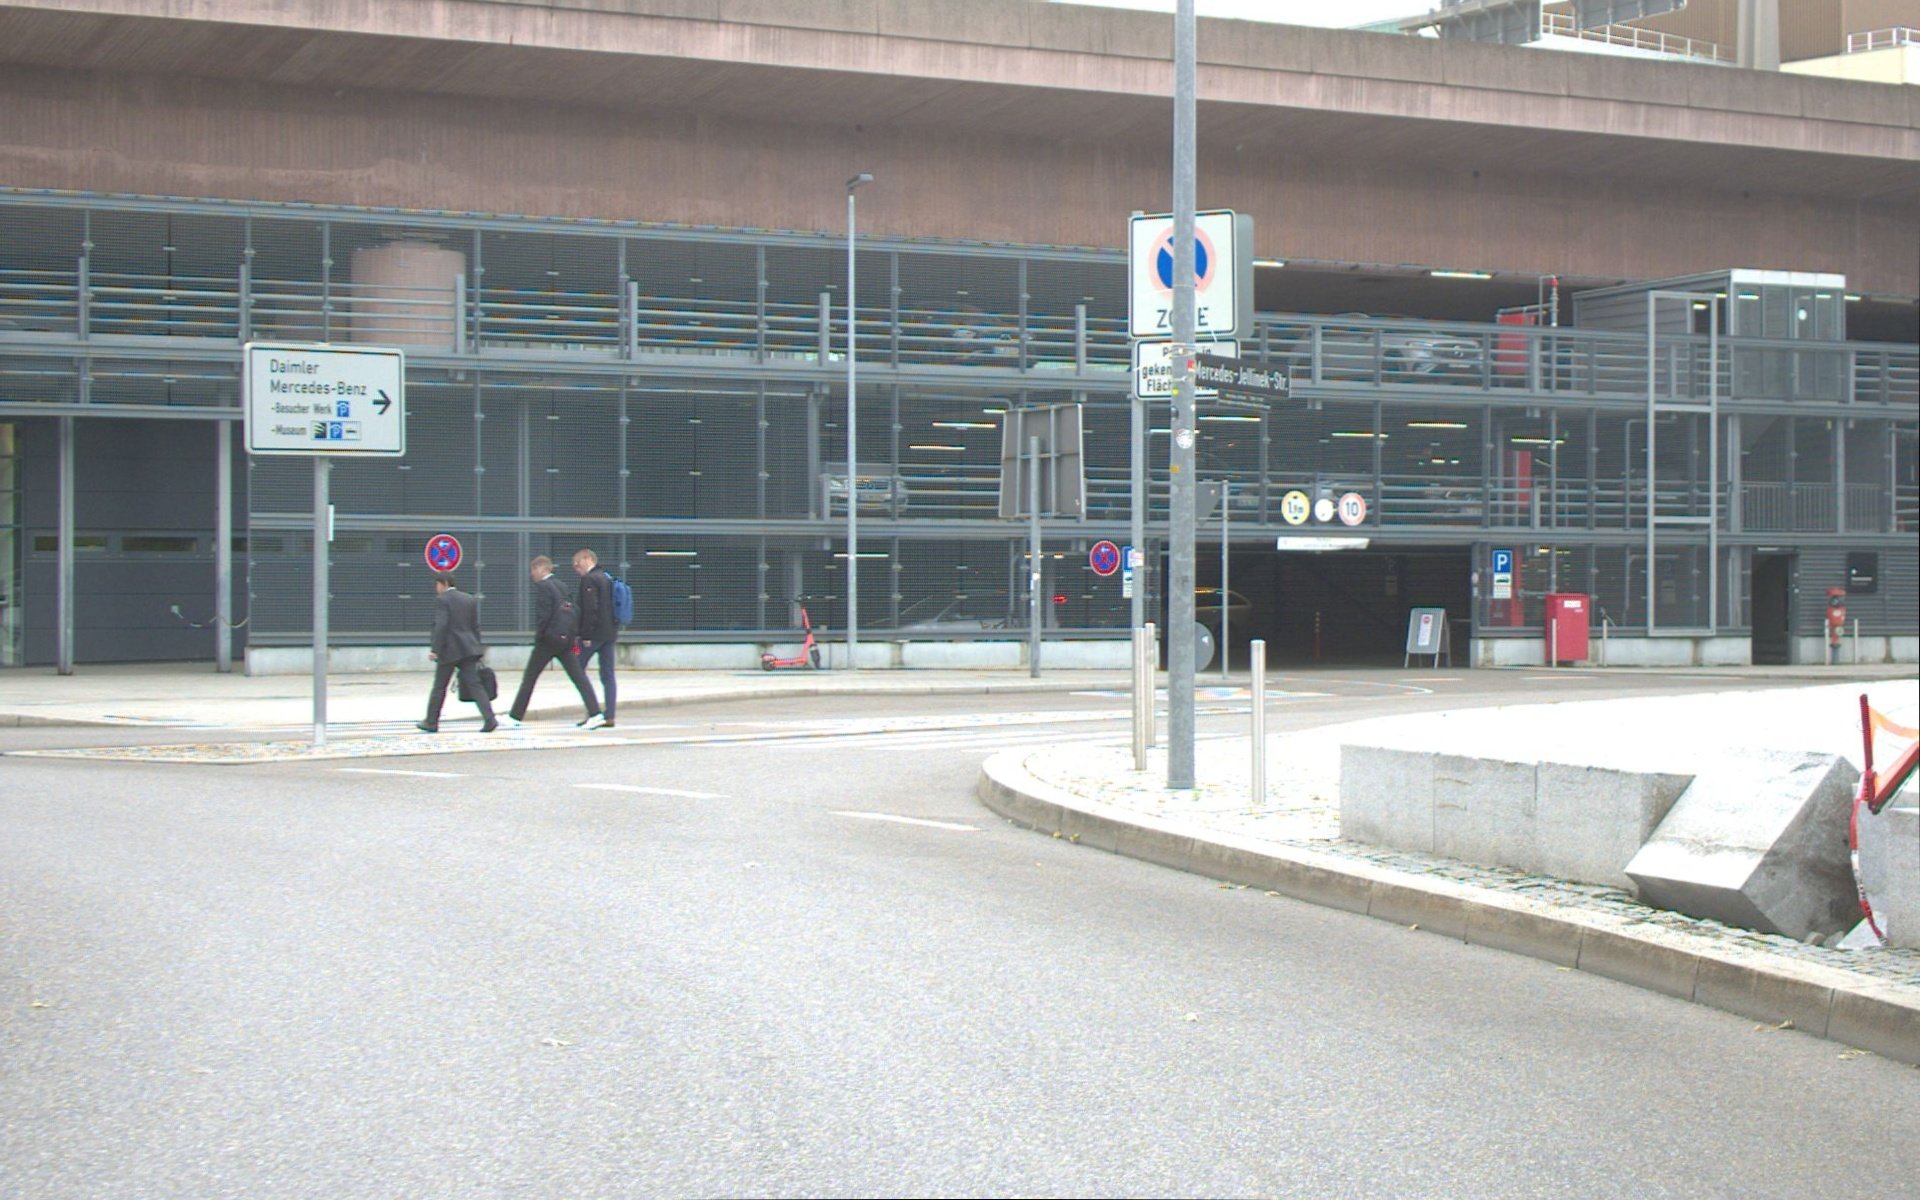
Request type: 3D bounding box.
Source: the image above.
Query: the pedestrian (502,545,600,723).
[{"bbox_3d":[-4.054,0.337,34.048,0.830,1.735,0.690,1,-1,-17],"label":"pedestrian"}]

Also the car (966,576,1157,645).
[{"bbox_3d":[2.374,0.254,80.340,3.986,1.568,2.000,0,0,-28],"label":"car"}]

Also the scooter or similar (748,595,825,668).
[{"bbox_3d":[-2.860,0.520,56.826,1.230,1.190,0.356,1,-1,-29],"label":"scooter or similar"}]

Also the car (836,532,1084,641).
[{"bbox_3d":[0.001,-0.240,61.804,3.986,1.897,2.000,0,0,-28],"label":"car"}]

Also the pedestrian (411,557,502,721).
[{"bbox_3d":[-4.880,0.378,33.362,0.830,1.565,0.690,1,-1,-6],"label":"pedestrian"}]

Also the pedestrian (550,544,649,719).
[{"bbox_3d":[-3.643,0.319,34.724,0.830,1.735,0.690,1,-1,-21],"label":"pedestrian"}]
